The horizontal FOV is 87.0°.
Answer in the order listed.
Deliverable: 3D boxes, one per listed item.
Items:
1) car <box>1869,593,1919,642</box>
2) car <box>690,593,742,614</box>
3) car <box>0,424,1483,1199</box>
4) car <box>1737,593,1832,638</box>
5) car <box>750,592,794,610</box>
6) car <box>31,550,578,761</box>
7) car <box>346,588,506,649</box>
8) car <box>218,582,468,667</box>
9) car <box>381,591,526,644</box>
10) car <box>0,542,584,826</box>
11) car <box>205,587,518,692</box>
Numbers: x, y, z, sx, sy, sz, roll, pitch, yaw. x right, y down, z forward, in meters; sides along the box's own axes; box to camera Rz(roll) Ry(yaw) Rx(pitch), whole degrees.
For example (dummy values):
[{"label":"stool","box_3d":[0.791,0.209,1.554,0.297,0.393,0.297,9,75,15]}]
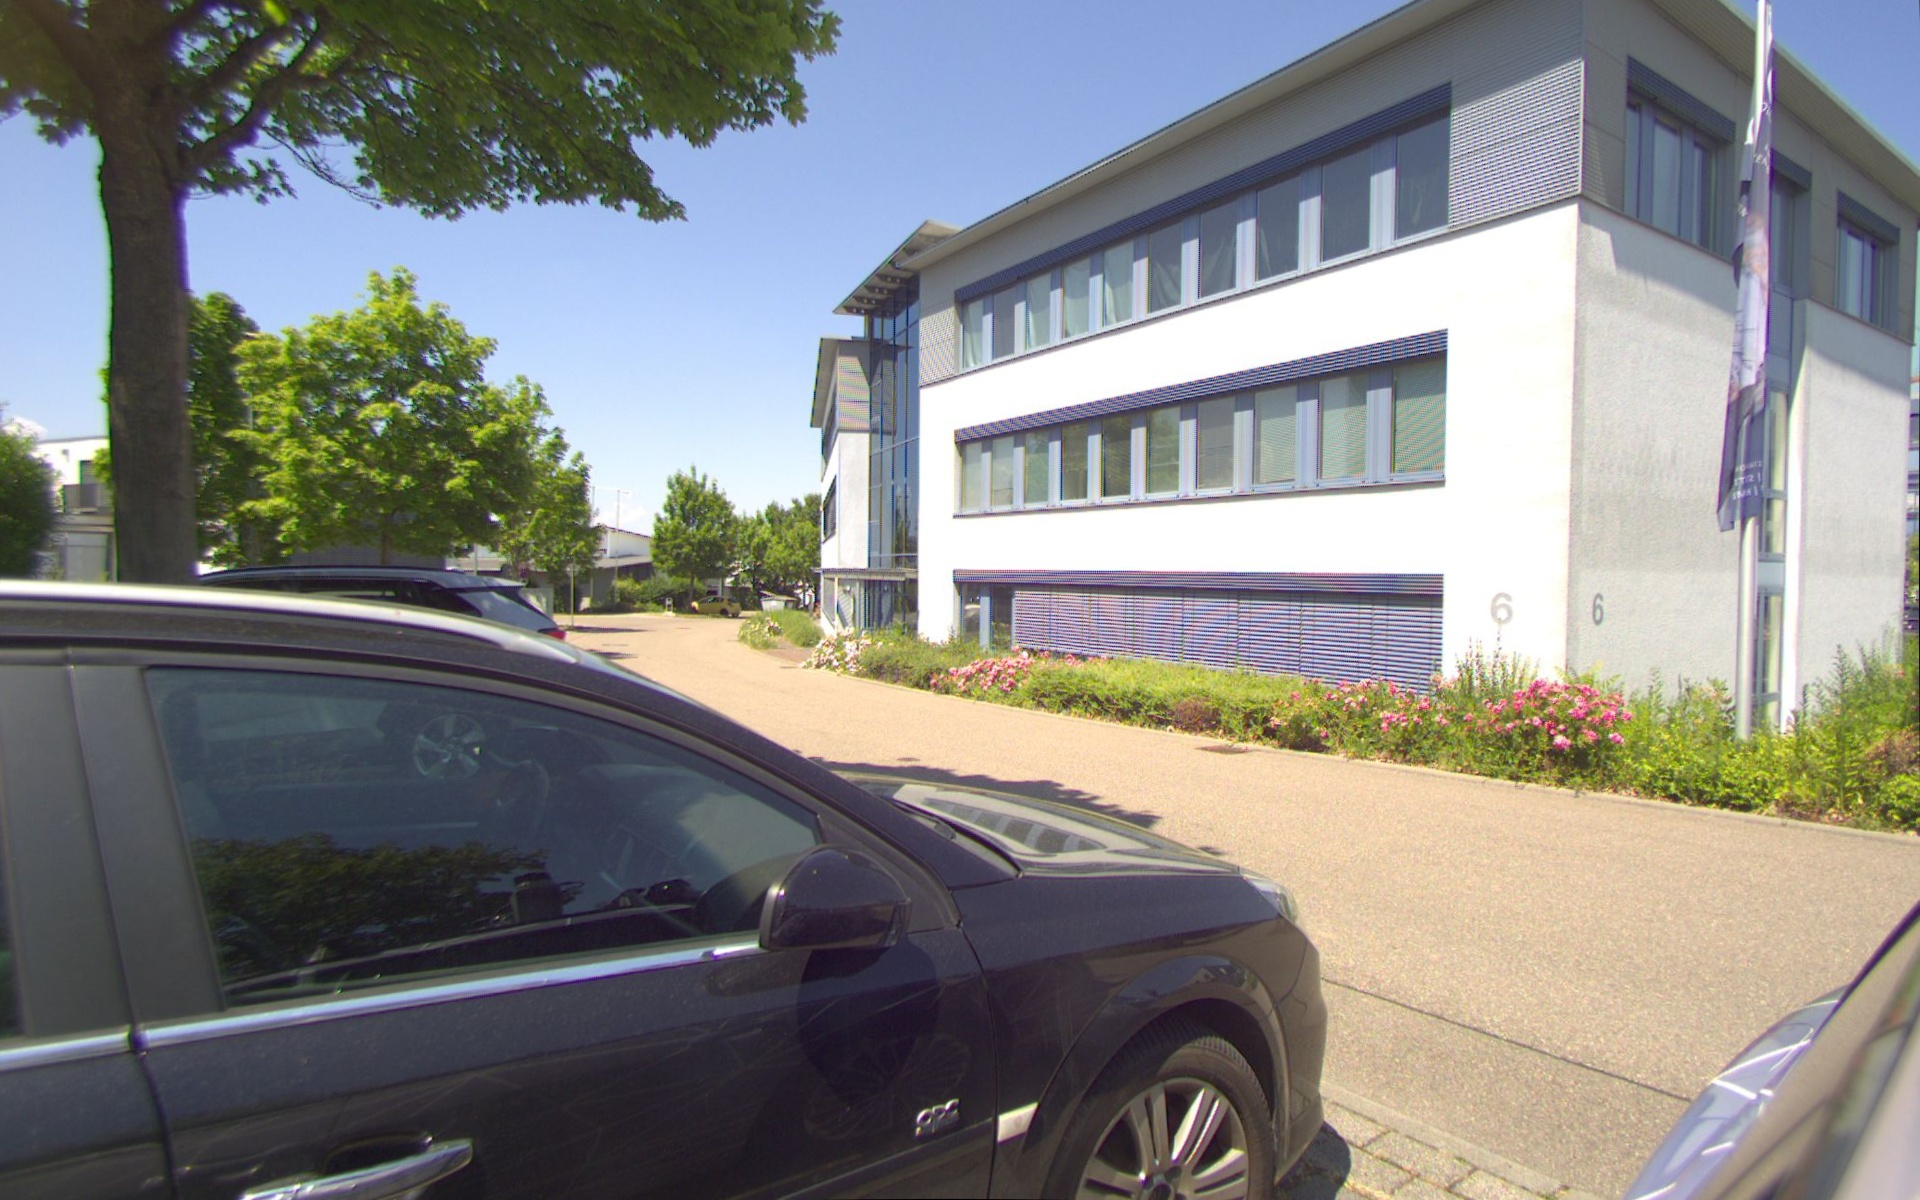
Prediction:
[{"label":"car","box_3d":[32.686,0.560,34.488,3.925,1.565,1.788,-1,0,-36]},{"label":"car","box_3d":[-17.143,0.208,71.130,3.172,1.460,1.580,0,0,18]},{"label":"car","box_3d":[-1.044,0.625,1.819,4.480,1.569,1.763,0,0,-37]},{"label":"car","box_3d":[30.582,0.540,37.516,3.925,1.565,1.788,-1,0,-36]},{"label":"car","box_3d":[-15.275,0.045,82.328,3.172,1.460,1.580,0,0,18]},{"label":"car","box_3d":[-6.082,0.470,9.851,4.122,1.664,1.661,1,-1,-35]},{"label":"car","box_3d":[-14.241,0.500,27.161,3.514,1.545,1.639,1,-1,-17]},{"label":"car","box_3d":[-12.417,0.501,20.674,4.090,1.625,1.664,1,-1,-21]},{"label":"car","box_3d":[-14.684,0.507,29.511,3.514,1.461,1.639,1,-1,-17]},{"label":"car","box_3d":[-5.177,0.505,7.345,4.249,1.664,1.857,1,-1,-35]},{"label":"car","box_3d":[-9.366,0.600,16.205,4.092,1.505,1.663,1,-1,-27]}]
